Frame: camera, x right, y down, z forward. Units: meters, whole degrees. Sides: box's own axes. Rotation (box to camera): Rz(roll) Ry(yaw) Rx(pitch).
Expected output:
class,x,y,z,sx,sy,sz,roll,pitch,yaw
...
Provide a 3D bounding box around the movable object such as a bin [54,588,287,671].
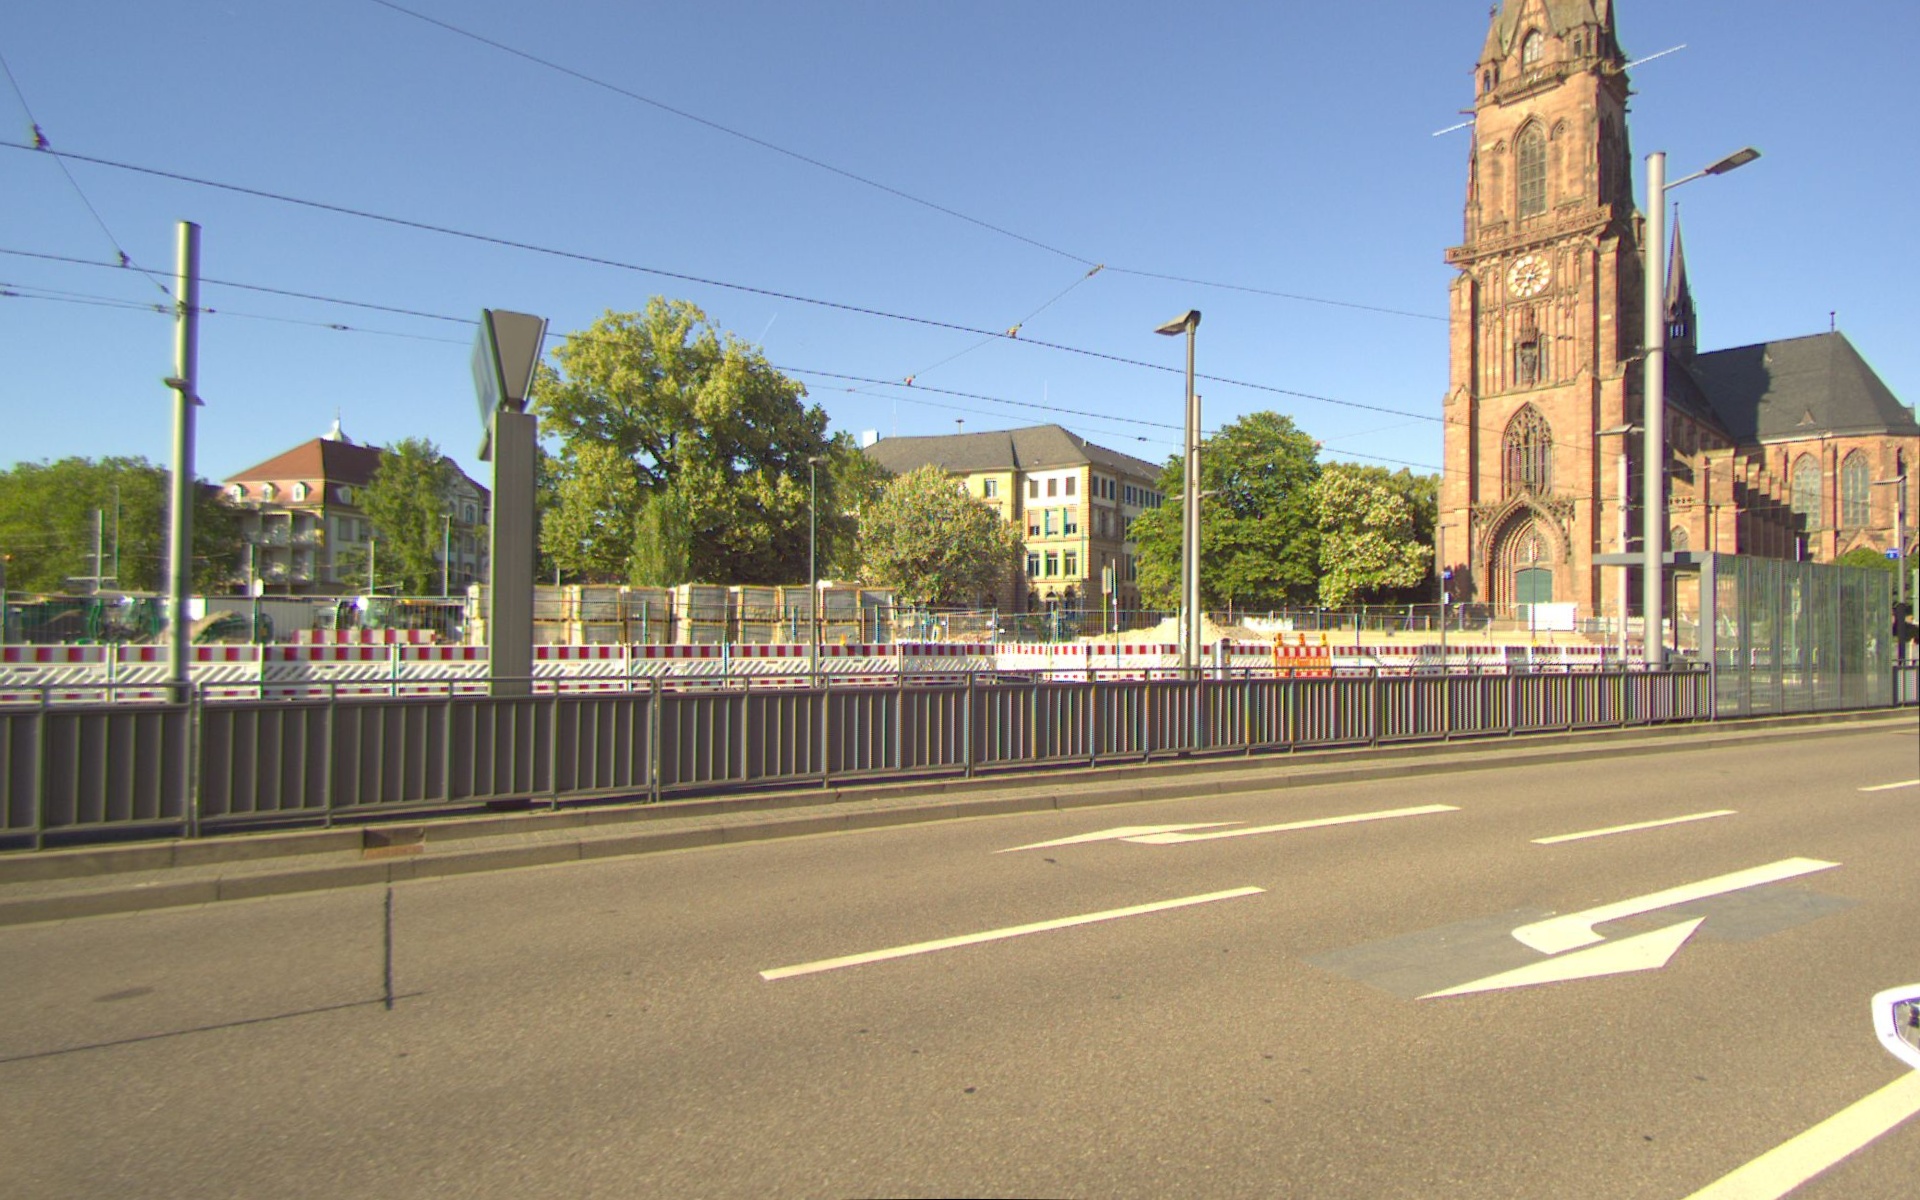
class,x,y,z,sx,sy,sz,roll,pitch,yaw
movable object such as a bin,-17.093,0.605,21.966,3.820,1.608,1.167,-2,-1,-31

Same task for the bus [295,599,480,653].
class,x,y,z,sx,sy,sz,roll,pitch,yaw
bus,-38.997,1.708,69.299,3.186,3.236,12.667,-3,-1,14

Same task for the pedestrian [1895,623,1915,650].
class,x,y,z,sx,sy,sz,roll,pitch,yaw
pedestrian,63.870,2.489,67.900,0.854,1.797,0.724,-2,-1,-33

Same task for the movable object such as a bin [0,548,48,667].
class,x,y,z,sx,sy,sz,roll,pitch,yaw
movable object such as a bin,-22.836,0.253,21.135,2.598,2.559,5.141,-3,-1,42
